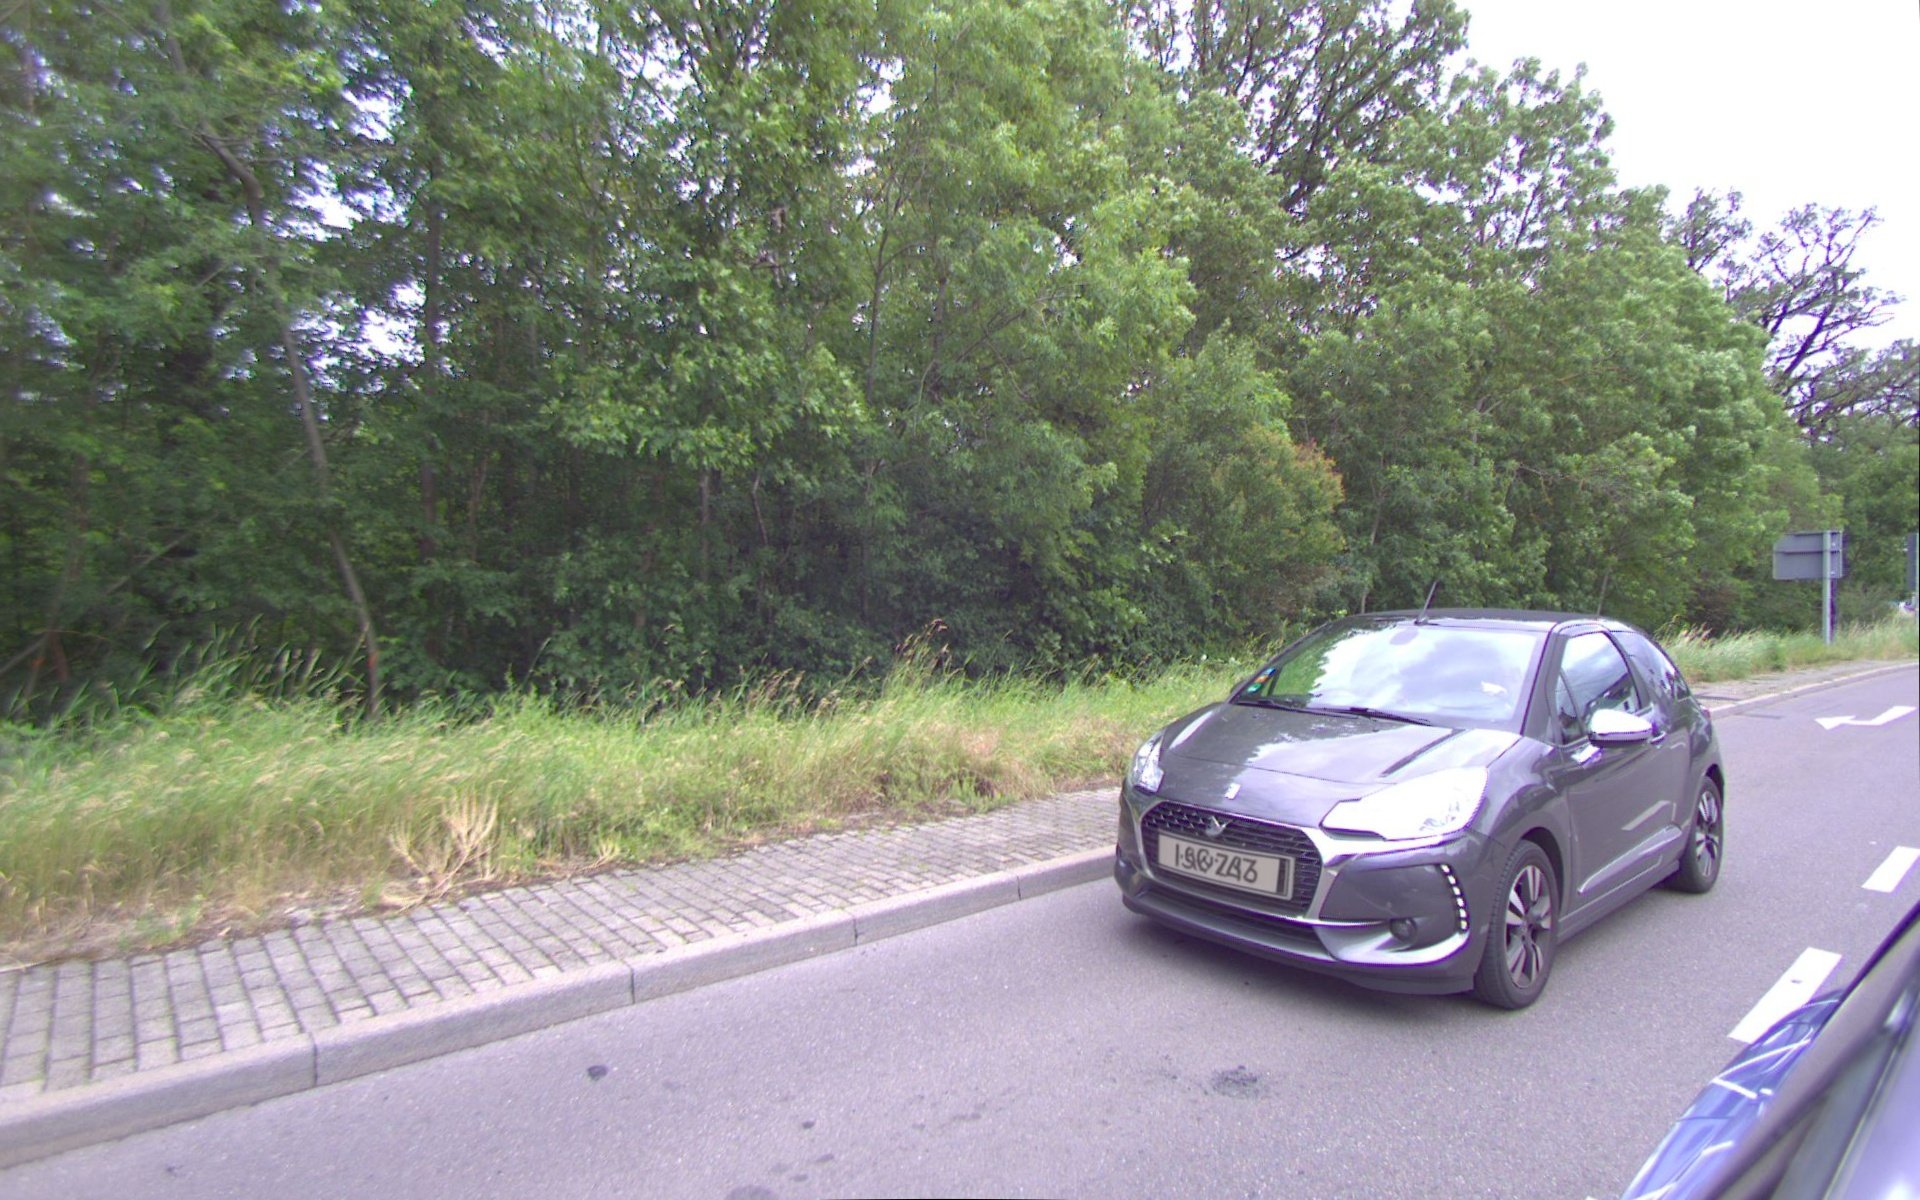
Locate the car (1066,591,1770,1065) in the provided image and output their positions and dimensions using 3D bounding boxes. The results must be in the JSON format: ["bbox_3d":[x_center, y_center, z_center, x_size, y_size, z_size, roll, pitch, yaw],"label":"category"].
[{"bbox_3d":[2.470,0.706,5.045,3.786,1.476,1.729,0,0,-40],"label":"car"}]
